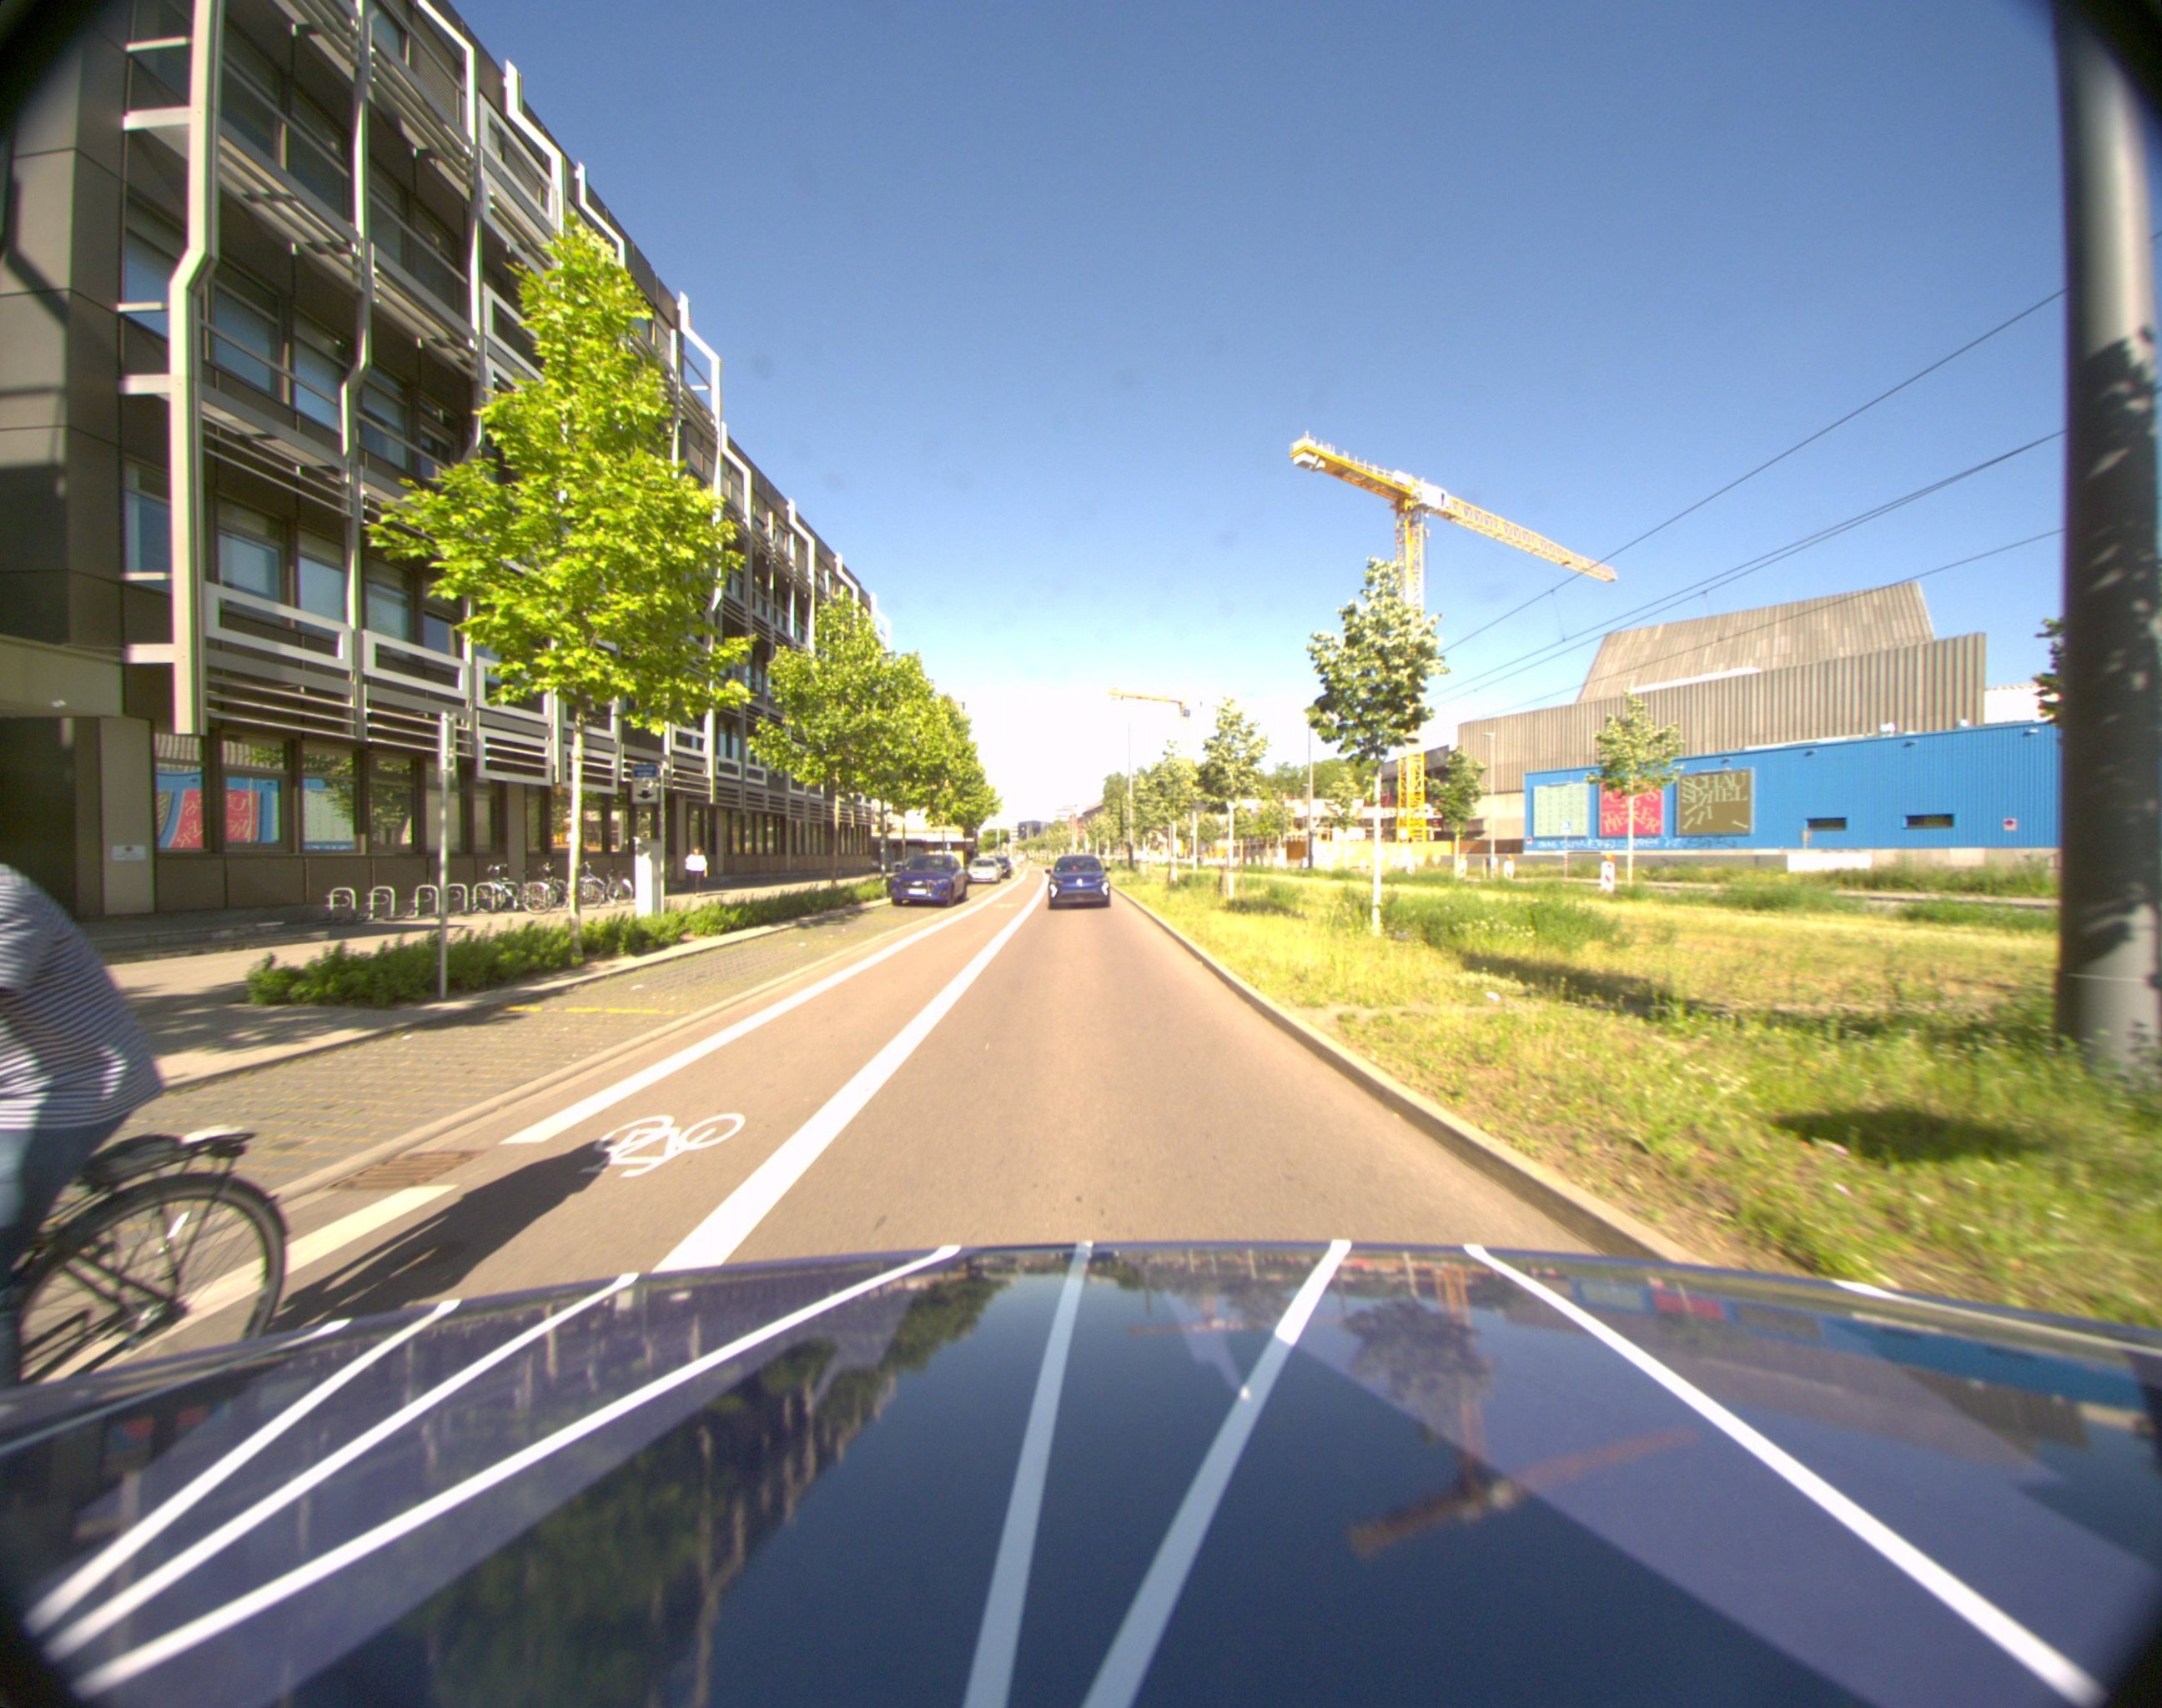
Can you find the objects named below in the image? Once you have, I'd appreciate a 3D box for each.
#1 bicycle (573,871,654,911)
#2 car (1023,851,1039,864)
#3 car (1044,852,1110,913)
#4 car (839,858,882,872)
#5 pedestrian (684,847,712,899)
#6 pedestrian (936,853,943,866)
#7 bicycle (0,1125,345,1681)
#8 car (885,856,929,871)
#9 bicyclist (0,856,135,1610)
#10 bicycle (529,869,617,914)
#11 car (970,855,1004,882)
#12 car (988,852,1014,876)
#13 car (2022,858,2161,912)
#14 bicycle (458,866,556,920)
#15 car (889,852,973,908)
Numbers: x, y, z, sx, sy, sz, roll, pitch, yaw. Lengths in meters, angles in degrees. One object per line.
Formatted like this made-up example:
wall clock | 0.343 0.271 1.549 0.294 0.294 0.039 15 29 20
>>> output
bicycle | -12.019 0.940 19.543 1.862 0.933 0.427 2 1 3
car | -7.654 0.561 116.331 1.822 1.783 4.000 -3 1 3
car | -0.080 0.804 23.378 1.749 1.613 4.153 -4 0 1
car | -23.150 1.145 79.918 4.194 1.386 1.556 -1 -1 -14
pedestrian | -12.258 0.597 24.335 0.512 1.613 0.674 2 1 2
pedestrian | -15.283 0.570 82.019 0.683 1.442 0.542 -1 1 -11
bicycle | -2.524 1.290 1.266 0.499 0.900 2.196 -2 -1 -2
car | -18.532 0.957 80.941 4.410 1.535 1.851 -1 1 -14
bicyclist | -2.548 0.805 1.551 0.514 1.592 0.536 -1 1 -2
bicycle | -12.153 0.890 18.198 1.862 1.005 0.427 2 1 3
car | -5.381 0.810 43.787 1.622 1.456 4.154 1 0 -2
car | -5.793 0.703 55.469 1.752 1.649 4.468 -1 0 -4
car | 33.805 0.961 24.727 1.562 1.527 3.857 -3 1 -1
bicycle | -12.557 0.849 16.633 1.862 1.091 0.427 2 1 3
car | -4.901 0.789 25.456 1.854 1.647 4.848 1 0 0
